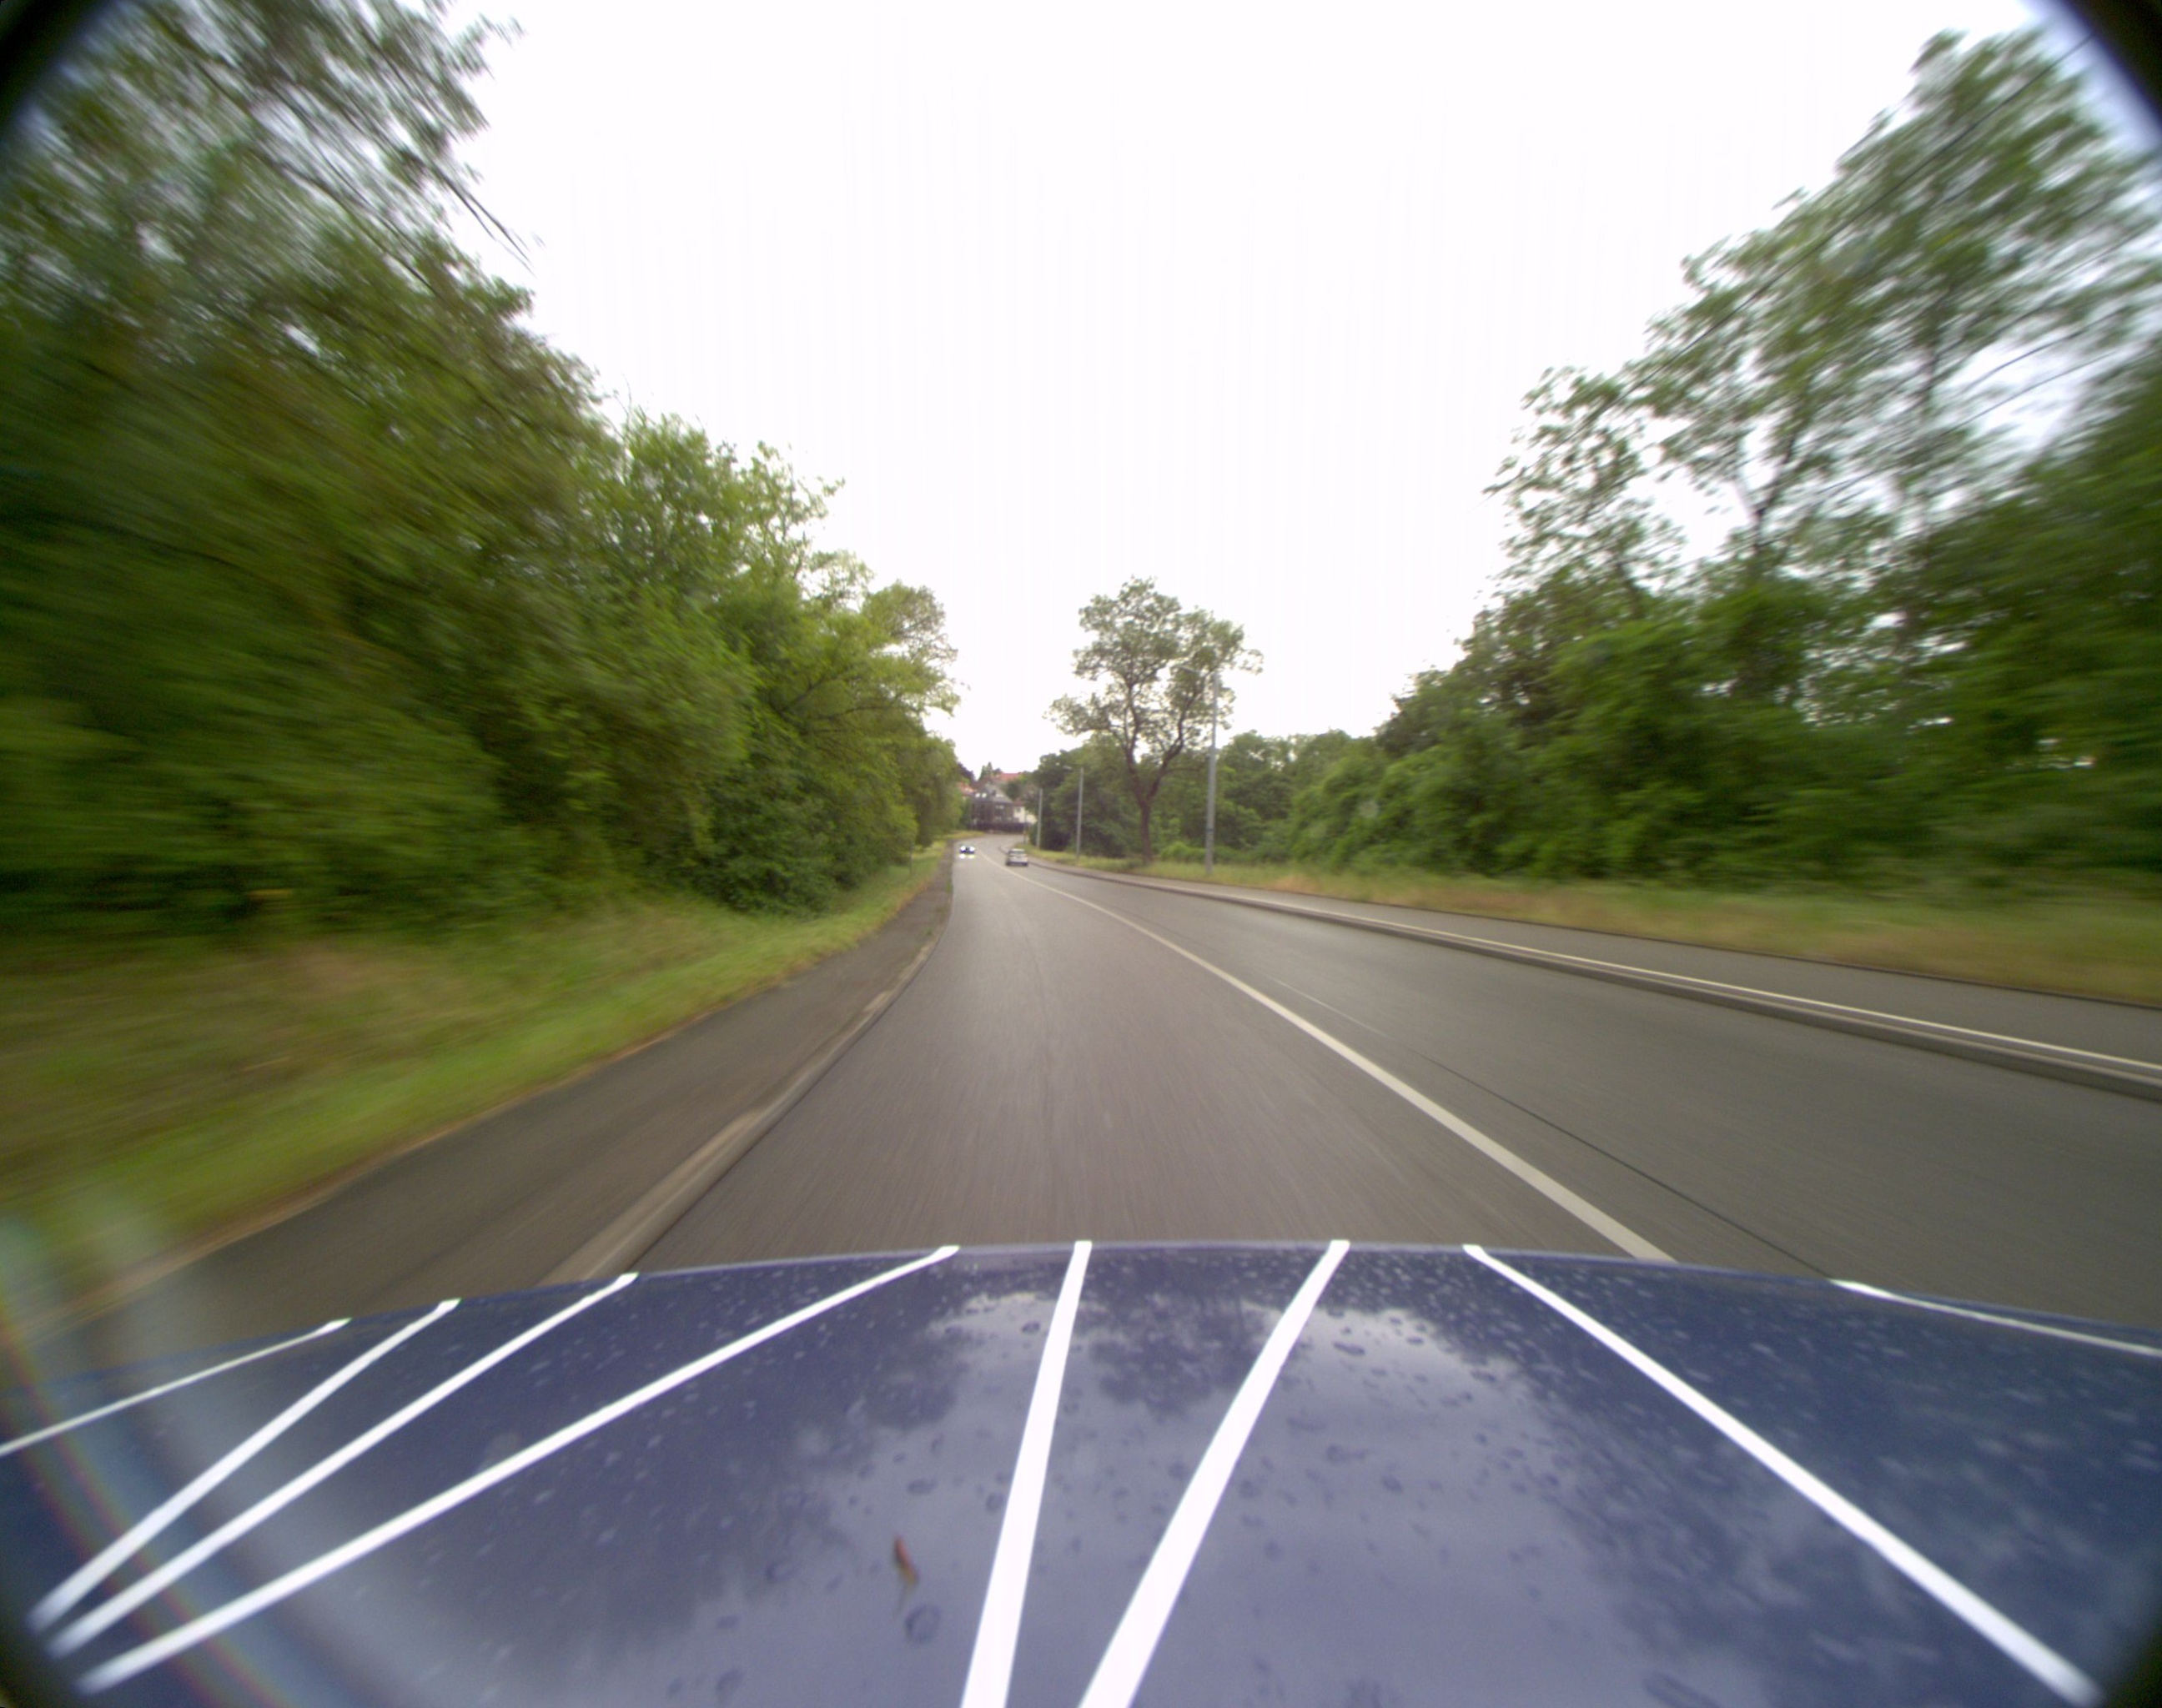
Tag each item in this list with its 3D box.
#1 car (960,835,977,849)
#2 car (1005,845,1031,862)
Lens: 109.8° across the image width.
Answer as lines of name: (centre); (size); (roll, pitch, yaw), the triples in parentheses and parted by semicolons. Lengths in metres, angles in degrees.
car: (-14.657, -1.586, 99.165); (2.000, 1.707, 3.996); (0, 2, -6)
car: (-5.571, -0.096, 66.742); (1.786, 1.422, 4.470); (1, 0, -11)
